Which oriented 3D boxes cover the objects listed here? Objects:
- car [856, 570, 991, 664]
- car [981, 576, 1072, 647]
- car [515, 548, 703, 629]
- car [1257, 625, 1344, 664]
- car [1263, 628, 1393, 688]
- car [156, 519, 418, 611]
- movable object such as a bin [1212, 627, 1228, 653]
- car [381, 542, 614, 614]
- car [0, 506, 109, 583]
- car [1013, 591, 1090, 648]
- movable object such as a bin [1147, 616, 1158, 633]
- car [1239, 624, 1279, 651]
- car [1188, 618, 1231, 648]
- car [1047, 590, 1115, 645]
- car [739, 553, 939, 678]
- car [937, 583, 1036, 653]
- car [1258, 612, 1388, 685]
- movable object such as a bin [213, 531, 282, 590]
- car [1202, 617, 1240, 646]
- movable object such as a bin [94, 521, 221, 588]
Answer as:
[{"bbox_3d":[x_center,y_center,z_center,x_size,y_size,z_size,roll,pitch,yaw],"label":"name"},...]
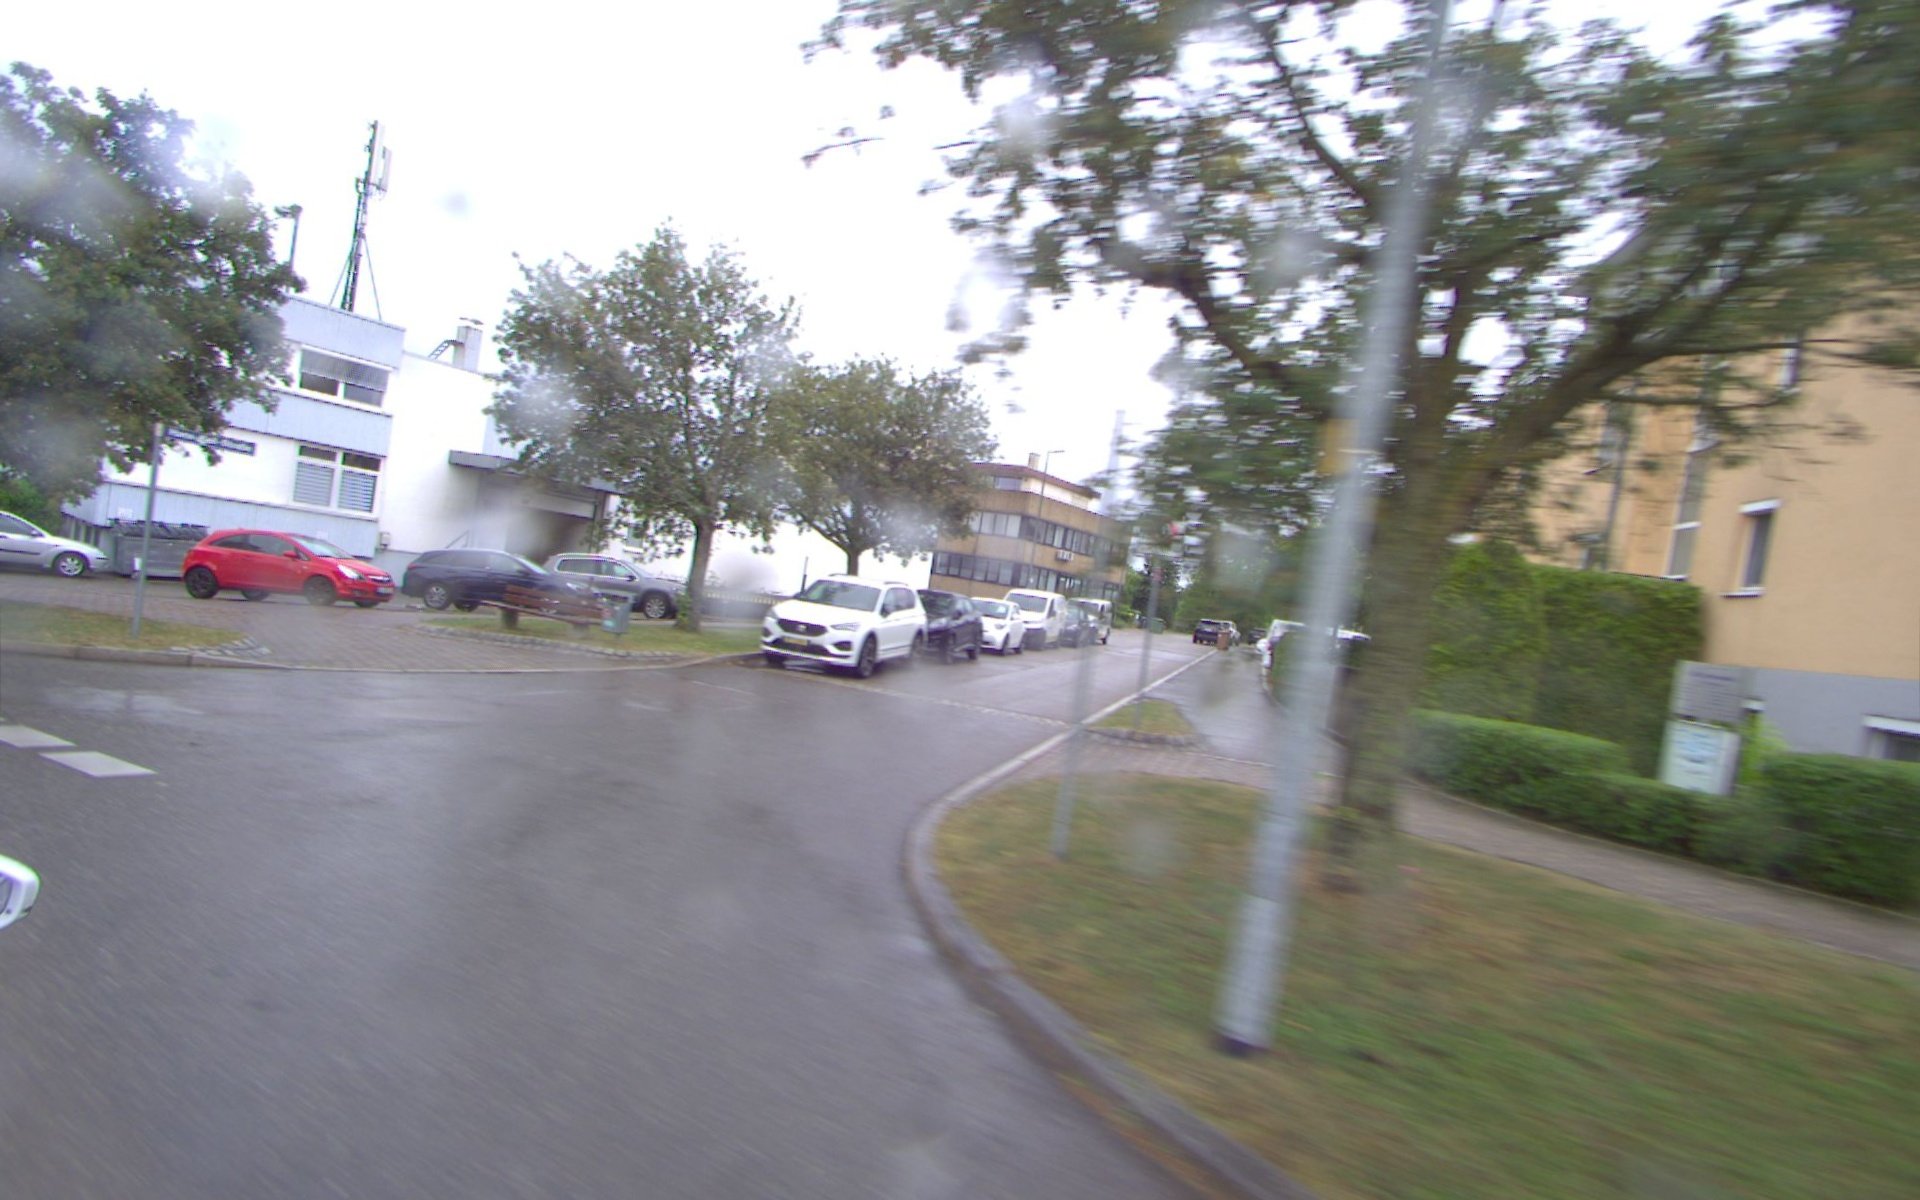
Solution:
[{"bbox_3d":[-0.721,0.446,23.243,1.918,1.753,4.022,7,-1,14],"label":"car"},{"bbox_3d":[2.282,0.444,33.239,1.895,1.952,4.425,7,-1,16],"label":"car"},{"bbox_3d":[-9.398,-0.277,27.272,4.378,1.819,1.859,3,-2,-5],"label":"car"},{"bbox_3d":[16.903,2.200,50.166,3.870,1.513,1.829,6,1,15],"label":"car"},{"bbox_3d":[11.650,1.811,32.054,3.613,1.434,1.722,6,1,15],"label":"car"},{"bbox_3d":[-14.104,-0.693,21.244,4.244,1.604,1.859,3,-1,2],"label":"car"},{"bbox_3d":[14.764,2.282,57.133,0.761,1.413,0.965,5,0,12],"label":"movable object such as a bin"},{"bbox_3d":[-11.007,-0.490,24.201,4.741,1.605,1.858,1,0,-3],"label":"car"},{"bbox_3d":[-22.935,-1.432,23.465,1.829,1.604,4.315,5,-1,34],"label":"car"},{"bbox_3d":[3.468,0.758,37.329,1.918,1.753,4.022,7,-1,16],"label":"car"},{"bbox_3d":[14.357,1.820,75.040,0.642,1.220,0.927,5,0,15],"label":"movable object such as a bin"},{"bbox_3d":[25.125,3.163,84.471,2.157,1.898,3.993,6,-1,31],"label":"car"},{"bbox_3d":[16.148,2.135,65.012,1.897,1.722,3.996,6,1,23],"label":"car"},{"bbox_3d":[5.190,0.787,42.668,1.919,1.993,4.159,7,-1,17],"label":"car"},{"bbox_3d":[-2.017,0.275,18.405,1.910,1.838,4.713,5,1,15],"label":"car"},{"bbox_3d":[0.841,0.560,28.547,1.800,1.688,3.833,6,-1,15],"label":"car"},{"bbox_3d":[12.382,1.628,34.599,3.924,2.040,1.999,6,1,16],"label":"car"},{"bbox_3d":[-20.340,-1.119,28.742,1.013,1.515,1.304,6,1,37],"label":"movable object such as a bin"},{"bbox_3d":[18.398,2.216,70.782,1.870,1.763,3.995,6,1,24],"label":"car"},{"bbox_3d":[-21.467,-1.216,26.953,1.707,1.523,2.264,6,1,37],"label":"movable object such as a bin"}]
